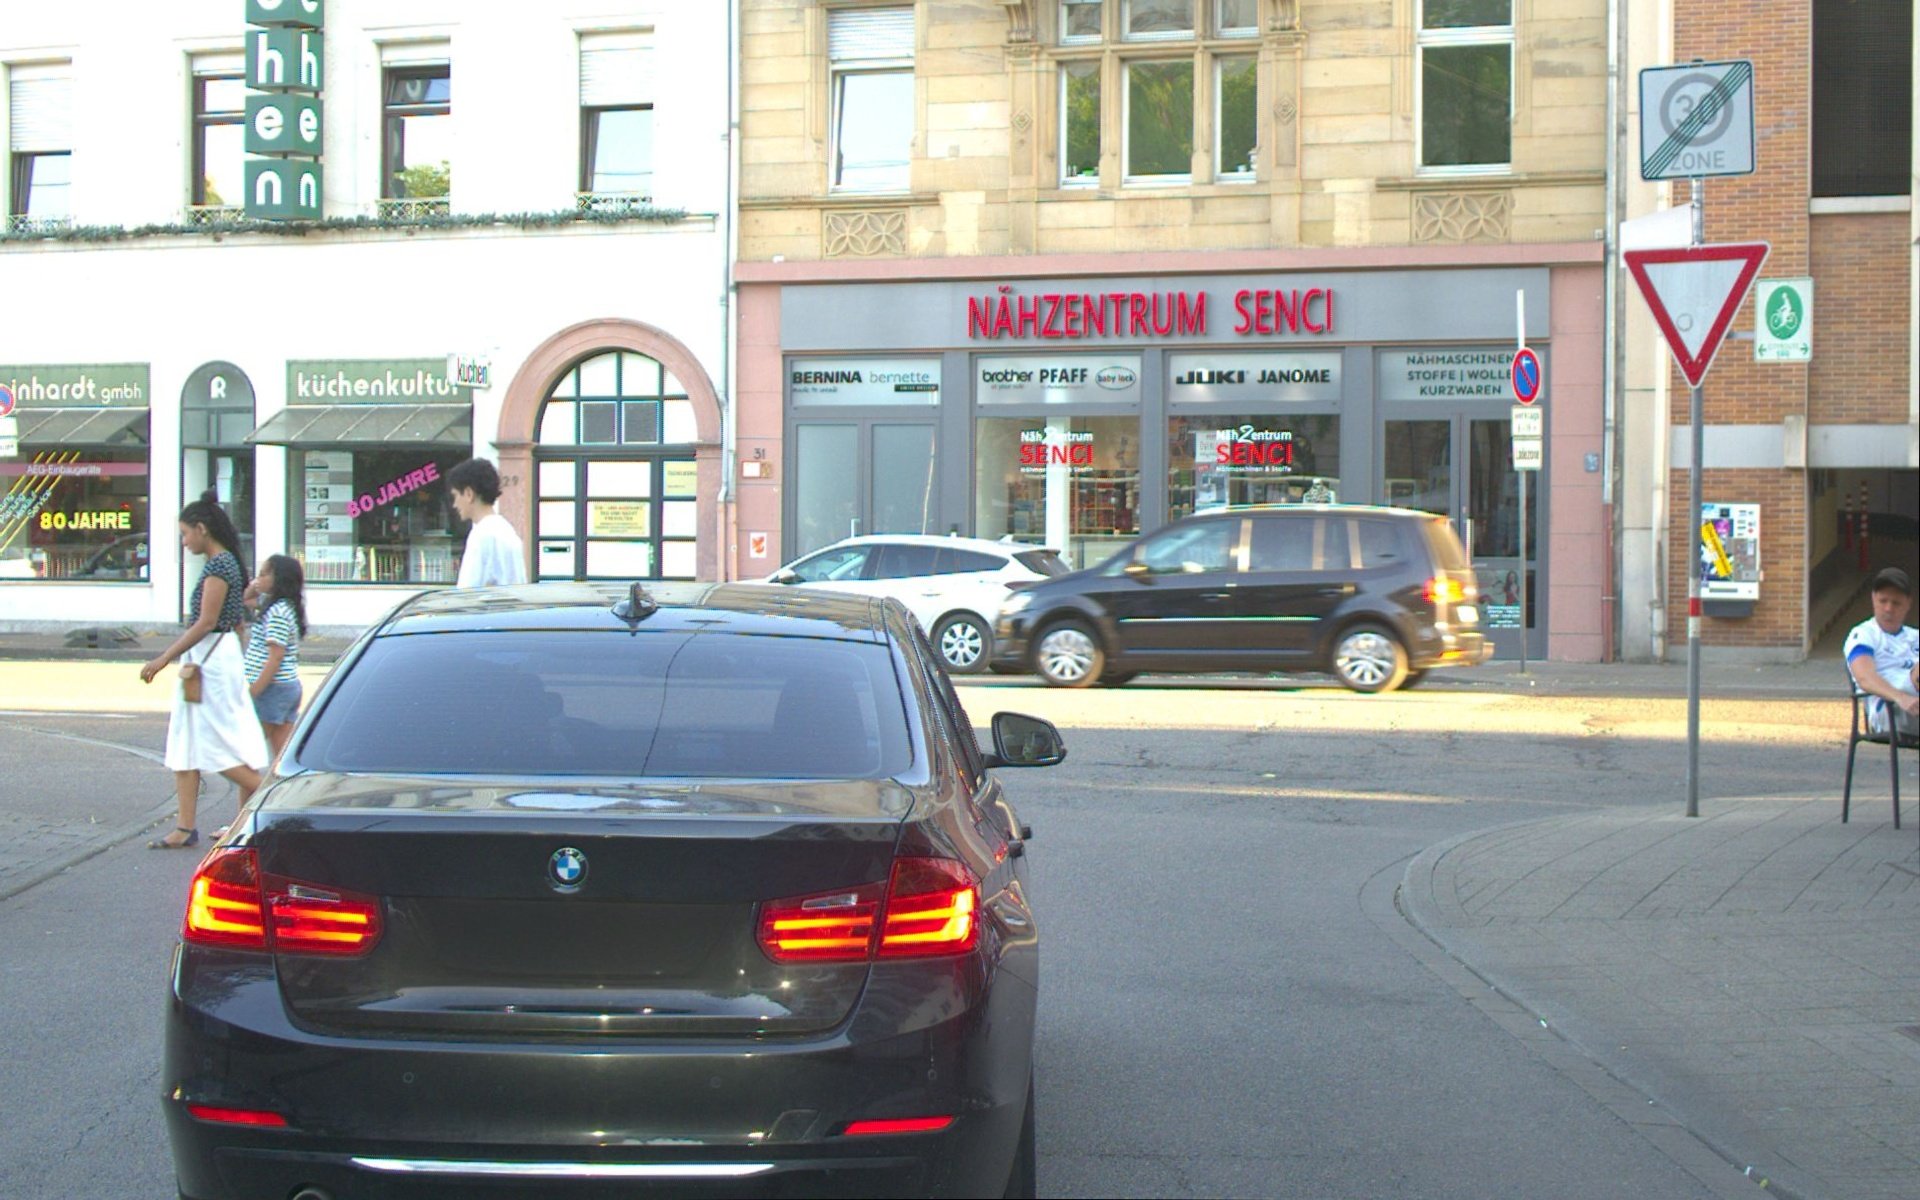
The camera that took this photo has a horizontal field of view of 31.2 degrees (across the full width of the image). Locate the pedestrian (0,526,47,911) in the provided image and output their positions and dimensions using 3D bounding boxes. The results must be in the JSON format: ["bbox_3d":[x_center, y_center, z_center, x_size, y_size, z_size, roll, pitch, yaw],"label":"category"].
[{"bbox_3d":[-4.305,0.480,14.618,0.724,1.603,0.650,2,1,-11],"label":"pedestrian"}]

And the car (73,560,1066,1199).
[{"bbox_3d":[-0.794,0.635,8.607,1.765,1.370,4.791,1,1,-2],"label":"car"}]

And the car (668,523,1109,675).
[{"bbox_3d":[-0.759,-0.029,36.864,4.356,1.557,1.867,0,0,20],"label":"car"}]

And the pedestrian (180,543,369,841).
[{"bbox_3d":[-3.451,0.452,17.352,0.815,1.469,0.606,0,1,2],"label":"pedestrian"}]

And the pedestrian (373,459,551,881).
[{"bbox_3d":[-2.264,0.307,15.681,0.698,1.871,0.678,1,1,-2],"label":"pedestrian"}]

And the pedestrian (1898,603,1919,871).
[{"bbox_3d":[4.610,0.595,15.002,0.890,1.146,0.619,0,1,5],"label":"pedestrian"}]

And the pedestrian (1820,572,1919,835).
[{"bbox_3d":[4.604,0.494,16.850,0.617,1.250,0.735,0,1,3],"label":"pedestrian"}]

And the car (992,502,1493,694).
[{"bbox_3d":[2.550,-0.041,30.754,4.184,1.619,1.799,1,0,16],"label":"car"}]

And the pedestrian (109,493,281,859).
[{"bbox_3d":[-3.705,0.355,16.687,0.667,1.740,0.606,0,1,4],"label":"pedestrian"}]
